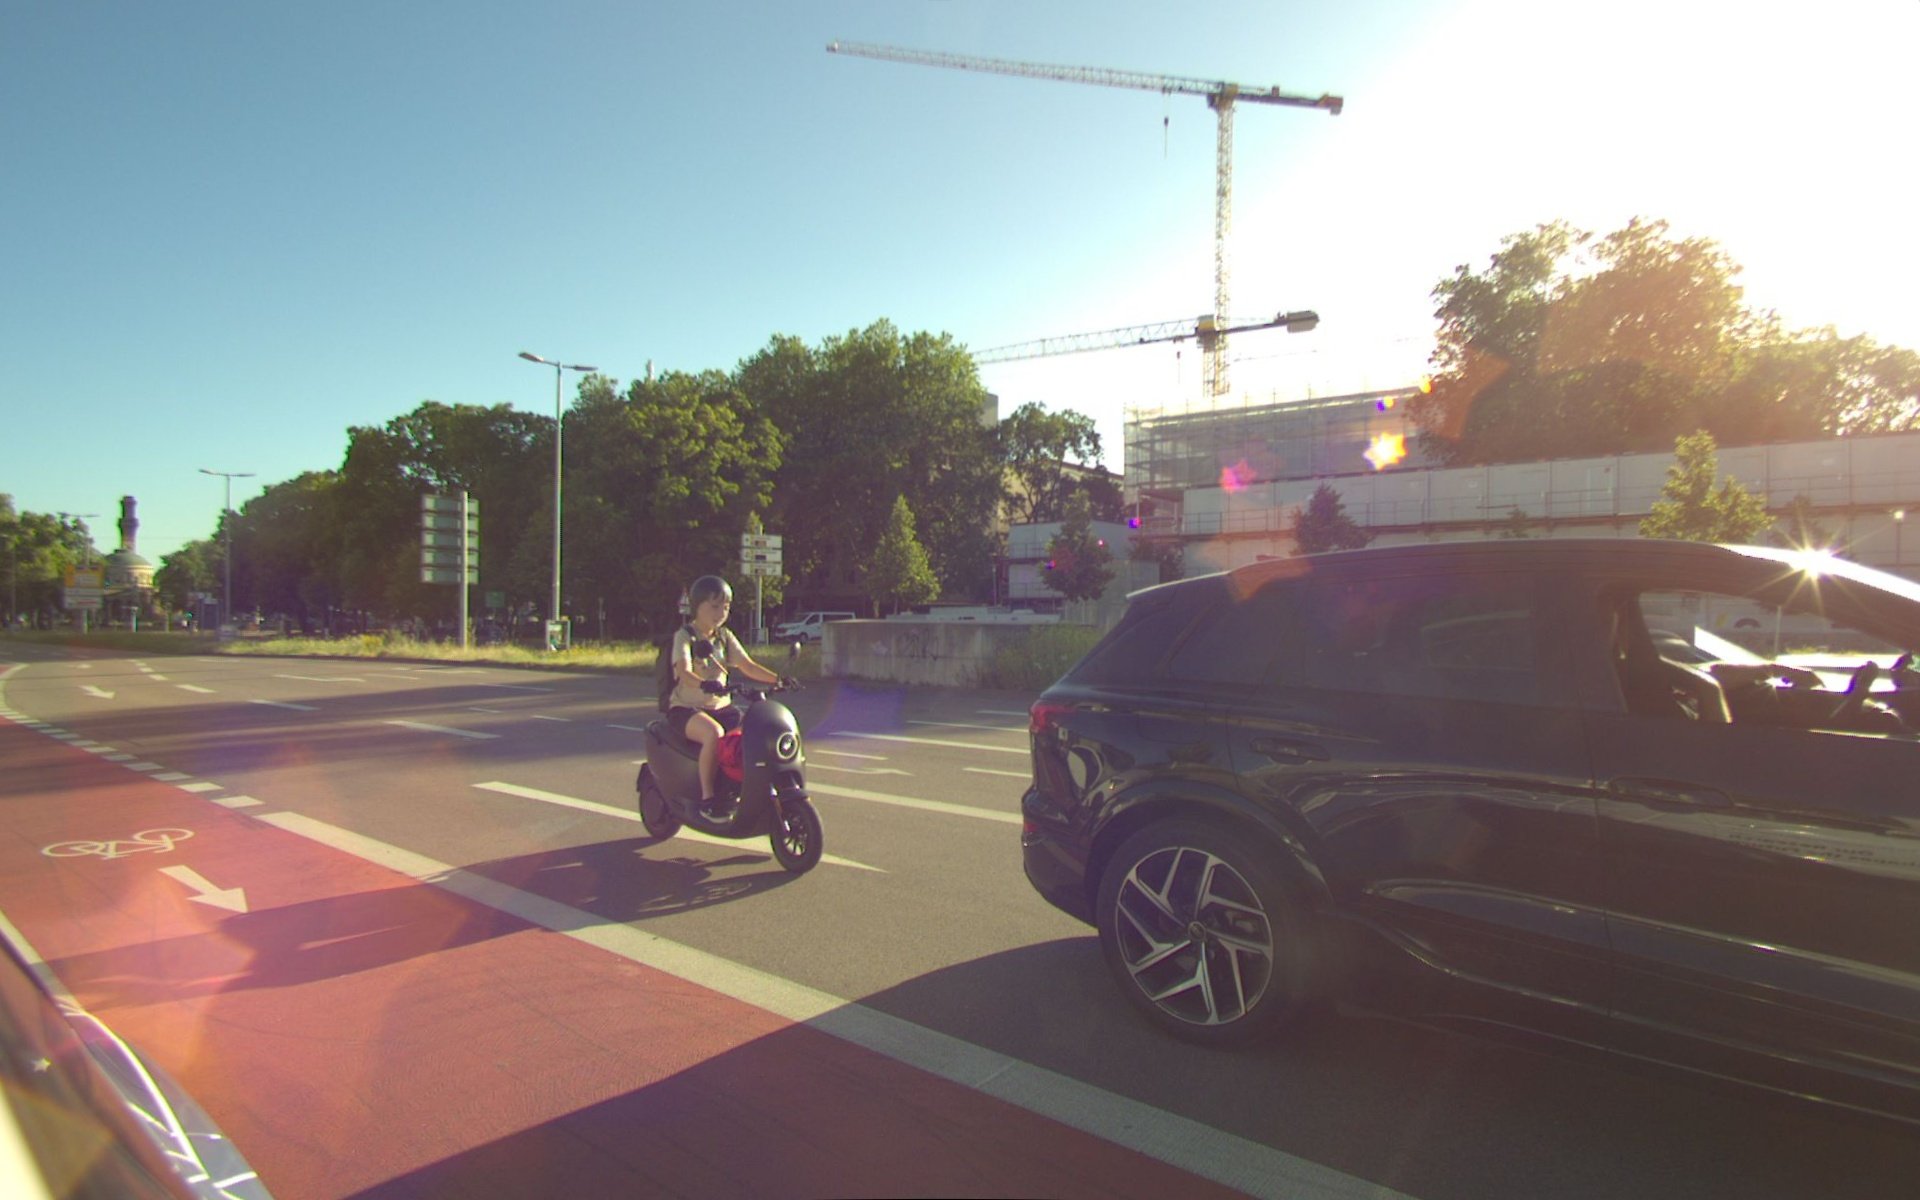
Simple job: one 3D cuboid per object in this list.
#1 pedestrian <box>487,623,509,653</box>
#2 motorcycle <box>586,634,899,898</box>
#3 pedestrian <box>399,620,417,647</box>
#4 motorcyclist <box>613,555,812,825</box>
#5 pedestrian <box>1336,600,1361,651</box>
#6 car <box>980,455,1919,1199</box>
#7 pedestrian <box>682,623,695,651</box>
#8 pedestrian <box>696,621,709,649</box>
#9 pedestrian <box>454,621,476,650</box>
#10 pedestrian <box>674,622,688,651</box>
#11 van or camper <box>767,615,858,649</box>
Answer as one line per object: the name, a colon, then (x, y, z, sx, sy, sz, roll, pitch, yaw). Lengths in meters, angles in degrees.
pedestrian: (-31.269, 2.572, 68.564, 0.815, 1.978, 1.111, -1, 0, 41)
motorcycle: (-1.335, 0.852, 5.979, 1.943, 1.290, 0.817, -1, -2, 41)
pedestrian: (-42.256, 2.582, 77.465, 0.942, 2.029, 0.842, -1, 0, -8)
motorcyclist: (-1.497, 0.502, 6.135, 0.877, 1.475, 0.813, -1, -2, 41)
pedestrian: (12.609, 0.812, 32.838, 0.597, 1.614, 0.580, -1, 0, 38)
car: (2.554, 0.551, 3.208, 4.659, 1.720, 2.144, -1, -1, 39)
pedestrian: (-14.679, 2.009, 54.745, 0.494, 1.522, 0.492, -1, -2, 41)
pedestrian: (-14.148, 1.911, 55.580, 0.494, 1.522, 0.492, -1, -2, 41)
pedestrian: (-35.089, 2.498, 71.747, 1.054, 1.978, 0.942, -1, 0, 26)
pedestrian: (-14.947, 1.943, 54.195, 0.494, 1.522, 0.492, -1, -2, 41)
van or camper: (-8.961, 1.927, 61.892, 1.951, 1.960, 5.425, -2, -2, 44)
